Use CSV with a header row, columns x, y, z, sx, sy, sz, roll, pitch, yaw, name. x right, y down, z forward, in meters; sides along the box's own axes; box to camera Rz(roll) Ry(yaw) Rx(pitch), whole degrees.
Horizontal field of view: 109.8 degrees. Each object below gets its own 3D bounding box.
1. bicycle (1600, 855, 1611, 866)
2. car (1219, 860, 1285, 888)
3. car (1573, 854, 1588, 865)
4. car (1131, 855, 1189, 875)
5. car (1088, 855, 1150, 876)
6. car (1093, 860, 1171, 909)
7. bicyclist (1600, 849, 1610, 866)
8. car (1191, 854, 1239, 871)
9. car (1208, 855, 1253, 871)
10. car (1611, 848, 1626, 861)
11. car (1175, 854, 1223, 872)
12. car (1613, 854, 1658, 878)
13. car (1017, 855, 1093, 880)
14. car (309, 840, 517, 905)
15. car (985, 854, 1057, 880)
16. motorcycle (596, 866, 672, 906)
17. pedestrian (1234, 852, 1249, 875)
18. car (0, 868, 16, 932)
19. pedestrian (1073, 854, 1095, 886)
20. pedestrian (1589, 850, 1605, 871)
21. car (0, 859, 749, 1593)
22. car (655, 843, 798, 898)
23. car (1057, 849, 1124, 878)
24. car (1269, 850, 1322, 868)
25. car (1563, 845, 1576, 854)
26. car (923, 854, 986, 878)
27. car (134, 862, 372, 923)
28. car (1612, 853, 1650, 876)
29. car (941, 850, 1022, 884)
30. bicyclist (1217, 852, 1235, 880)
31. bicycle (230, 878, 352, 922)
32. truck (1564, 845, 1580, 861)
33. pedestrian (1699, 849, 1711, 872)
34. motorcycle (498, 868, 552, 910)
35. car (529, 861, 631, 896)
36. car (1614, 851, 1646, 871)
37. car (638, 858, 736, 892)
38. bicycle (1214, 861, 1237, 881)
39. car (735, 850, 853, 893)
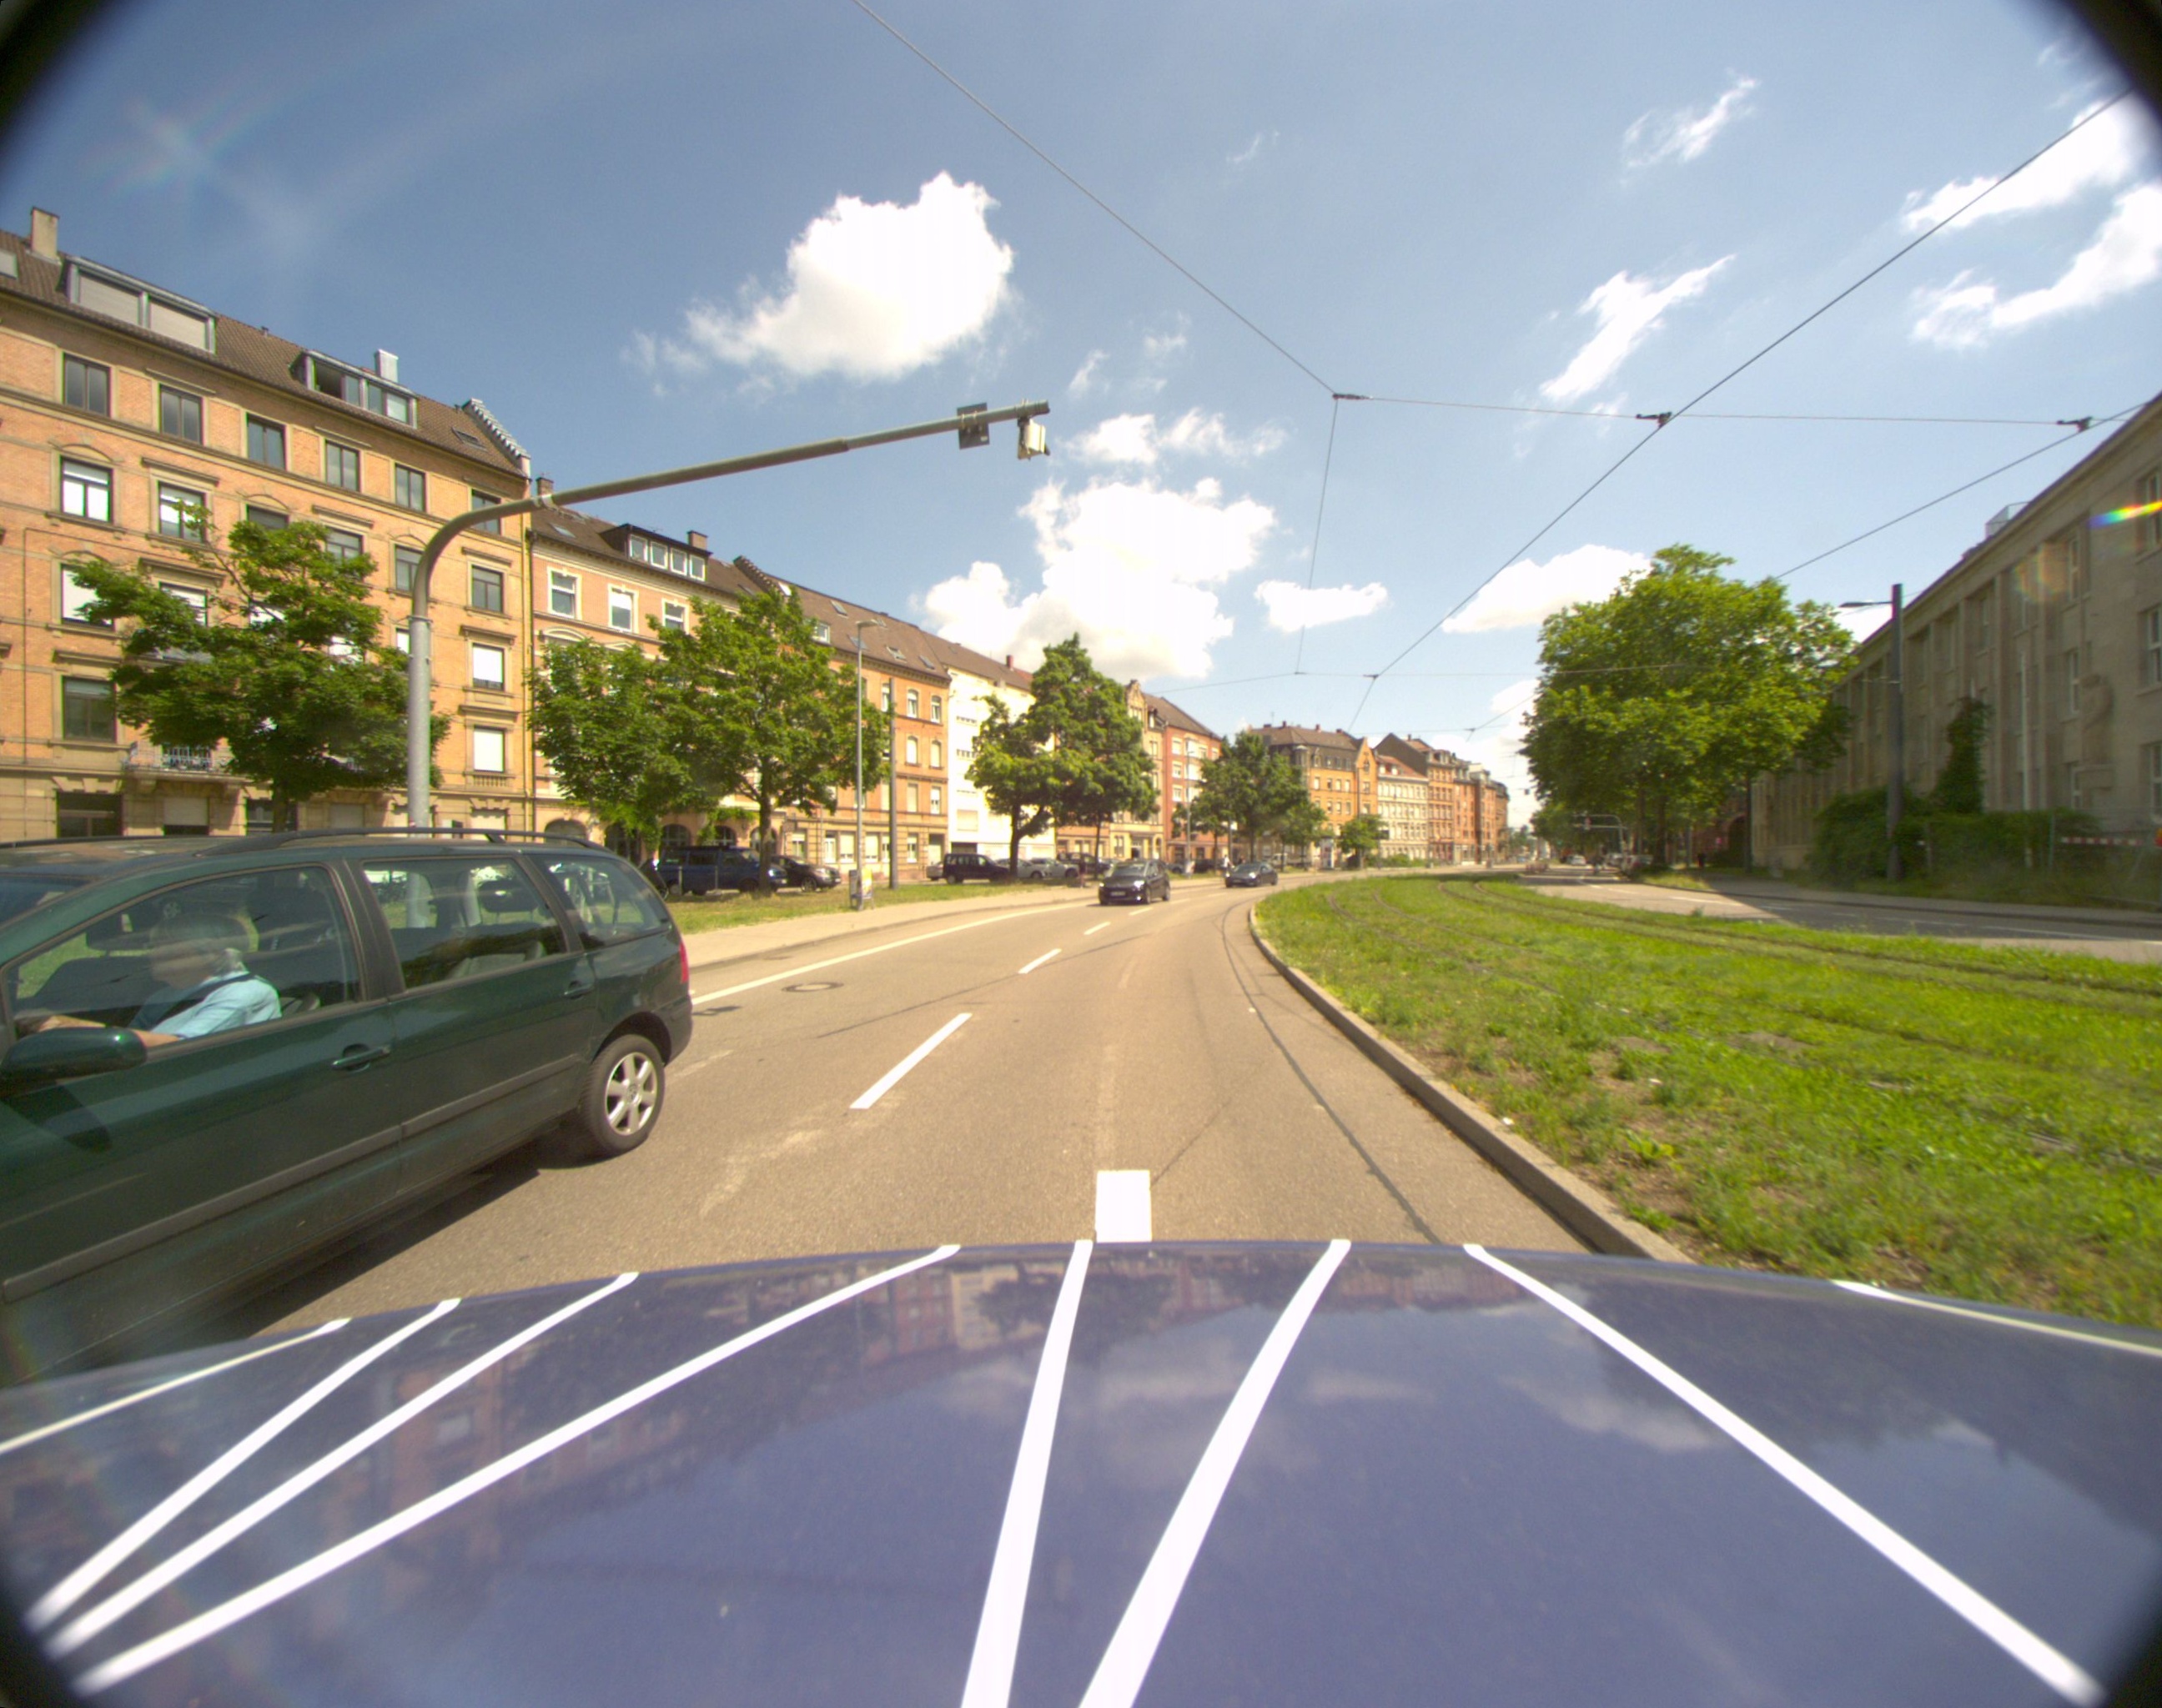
x,y,z,sx,sy,sz,roll,pitch,yaw,name
52.759,0.649,76.432,0.791,1.103,2.281,-2,0,34,bicycle
9.842,1.123,43.438,1.911,1.385,4.322,-2,0,39,car
73.042,0.767,111.066,1.760,1.471,3.796,2,1,33,car
6.195,0.853,59.635,4.267,1.372,1.852,-2,0,-2,car
2.661,0.813,54.334,4.267,1.372,1.852,-2,0,-2,car
1.977,1.080,28.323,1.873,1.610,4.195,-1,0,18,car
52.724,0.332,76.410,0.762,1.694,0.785,-2,0,33,bicyclist
12.001,0.770,68.176,3.996,1.372,1.962,-2,0,2,car
13.963,0.850,71.014,3.993,1.346,1.963,-2,0,12,car
81.623,0.050,115.338,1.758,1.825,4.008,-2,0,35,car
10.151,0.791,65.828,3.995,1.372,1.963,-2,0,6,car
33.832,0.715,46.468,1.927,1.360,4.326,-3,-2,32,car
-1.590,0.839,47.832,4.690,1.372,1.852,-2,0,0,car
-24.597,0.633,28.249,2.112,2.165,5.405,-2,0,35,car
-3.518,0.775,45.260,4.082,1.397,1.852,-2,0,-1,car
-13.754,0.956,23.429,1.910,1.160,0.638,-1,0,-44,motorcycle
12.060,0.679,57.076,0.700,1.695,1.046,1,3,33,pedestrian
-23.005,0.955,14.260,4.158,1.237,1.865,-2,0,10,car
0.151,0.799,39.349,0.700,1.583,0.907,3,3,33,pedestrian
41.476,0.522,61.095,0.782,1.694,0.703,-2,0,5,pedestrian
-3.457,0.934,2.868,1.822,1.746,5.033,-2,0,4,car
-13.691,0.630,29.548,4.625,1.916,1.917,-2,0,4,car
0.589,0.642,51.026,4.363,1.730,1.852,-2,0,-2,car
30.175,0.686,106.961,6.962,2.360,2.267,-1,0,27,car
89.888,-0.833,139.842,1.921,1.736,4.546,2,2,33,car
-8.659,0.797,52.433,1.833,1.483,4.235,-2,0,35,car
-20.742,0.938,19.127,4.254,1.419,1.806,-1,0,5,car
36.961,0.686,51.115,1.927,1.411,4.058,-3,-2,35,car
-5.576,0.714,42.909,4.145,1.730,1.853,-2,0,4,car
9.675,0.817,50.811,0.694,1.815,0.958,6,4,37,bicyclist
-17.912,1.023,17.276,0.542,0.896,1.824,-2,0,31,bicycle
102.362,-0.261,158.413,2.640,3.088,7.237,1,1,34,truck
45.169,0.467,55.001,0.554,1.582,0.797,-2,0,34,pedestrian
-15.845,0.980,21.636,1.784,1.160,0.641,-1,0,33,motorcycle
-21.706,1.023,33.021,1.564,1.395,3.357,-1,0,37,car
42.193,0.552,58.452,1.748,1.445,3.498,-3,-2,32,car
-19.063,1.000,36.931,1.660,1.483,3.861,-2,0,35,car
9.662,1.111,50.836,0.693,1.236,1.843,6,4,37,bicycle
-12.074,0.736,32.097,4.169,1.646,1.918,-2,0,8,car
